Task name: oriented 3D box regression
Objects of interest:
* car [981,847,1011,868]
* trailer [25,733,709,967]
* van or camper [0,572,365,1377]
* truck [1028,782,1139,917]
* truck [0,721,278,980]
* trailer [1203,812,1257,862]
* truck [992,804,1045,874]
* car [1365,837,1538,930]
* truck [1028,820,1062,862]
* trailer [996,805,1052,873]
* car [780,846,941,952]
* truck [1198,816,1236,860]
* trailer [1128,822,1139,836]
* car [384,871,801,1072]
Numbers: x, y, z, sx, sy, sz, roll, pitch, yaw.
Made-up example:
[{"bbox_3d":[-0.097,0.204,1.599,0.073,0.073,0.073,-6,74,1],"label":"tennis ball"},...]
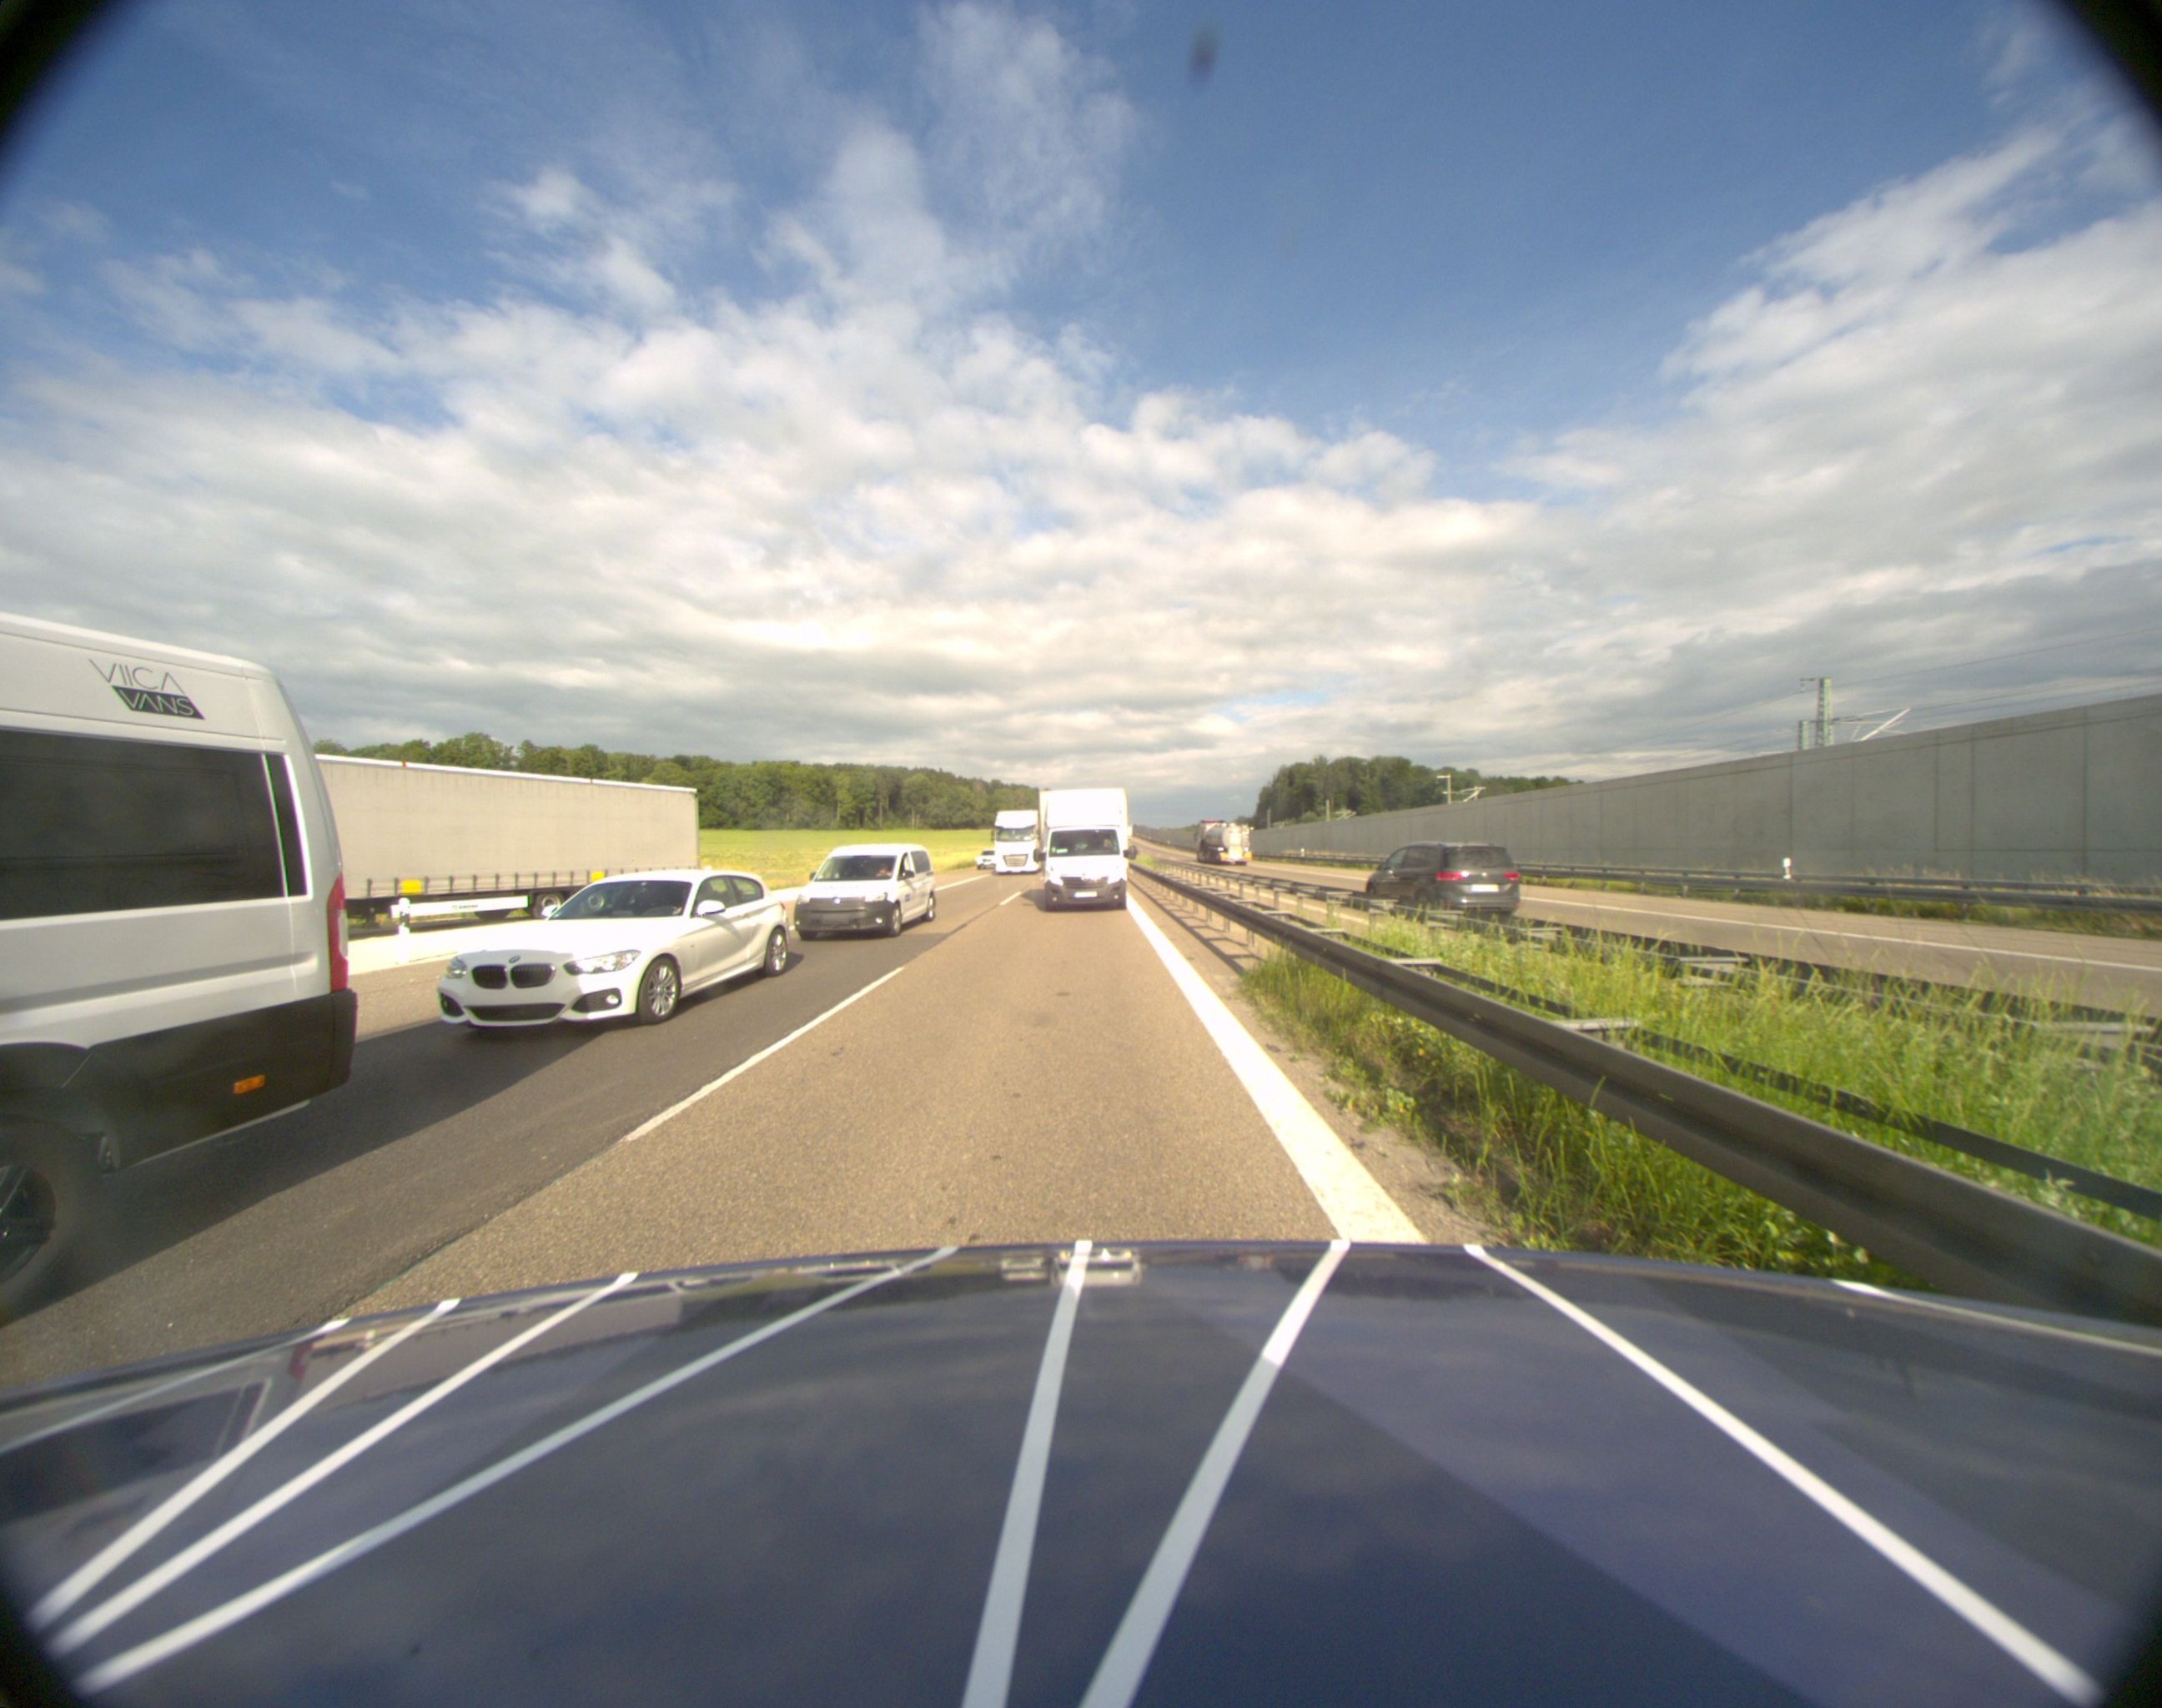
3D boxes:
[{"bbox_3d":[-6.925,0.238,62.378,1.808,1.583,4.675,-1,1,1],"label":"car"},{"bbox_3d":[-16.361,-0.146,20.454,2.739,4.136,13.842,-2,1,16],"label":"trailer"},{"bbox_3d":[-4.711,0.438,0.574,2.220,2.665,6.331,-1,1,0],"label":"van or camper"},{"bbox_3d":[0.115,-0.165,23.908,2.500,3.082,12.037,-2,1,0],"label":"truck"},{"bbox_3d":[-18.309,-0.033,13.430,2.717,4.150,4.765,-2,1,16],"label":"truck"},{"bbox_3d":[12.488,-1.373,64.854,2.594,3.879,10.863,0,1,1],"label":"trailer"},{"bbox_3d":[-3.892,-0.984,48.773,2.736,4.150,5.766,-2,2,1],"label":"truck"},{"bbox_3d":[7.780,0.528,16.416,1.785,1.727,4.102,-1,1,1],"label":"car"},{"bbox_3d":[-3.716,-1.323,81.486,2.946,4.094,12.523,-1,1,0],"label":"truck"},{"bbox_3d":[-3.840,-1.121,54.618,2.742,4.137,14.015,-2,1,0],"label":"trailer"},{"bbox_3d":[-4.212,0.747,15.398,1.729,1.746,4.702,-2,1,1],"label":"car"},{"bbox_3d":[12.518,-1.424,70.258,2.589,3.900,5.721,0,1,1],"label":"truck"},{"bbox_3d":[16.772,-7.915,242.659,2.797,4.054,13.518,0,1,0],"label":"trailer"},{"bbox_3d":[-4.736,1.005,8.274,1.707,1.424,4.231,-2,1,1],"label":"car"}]
